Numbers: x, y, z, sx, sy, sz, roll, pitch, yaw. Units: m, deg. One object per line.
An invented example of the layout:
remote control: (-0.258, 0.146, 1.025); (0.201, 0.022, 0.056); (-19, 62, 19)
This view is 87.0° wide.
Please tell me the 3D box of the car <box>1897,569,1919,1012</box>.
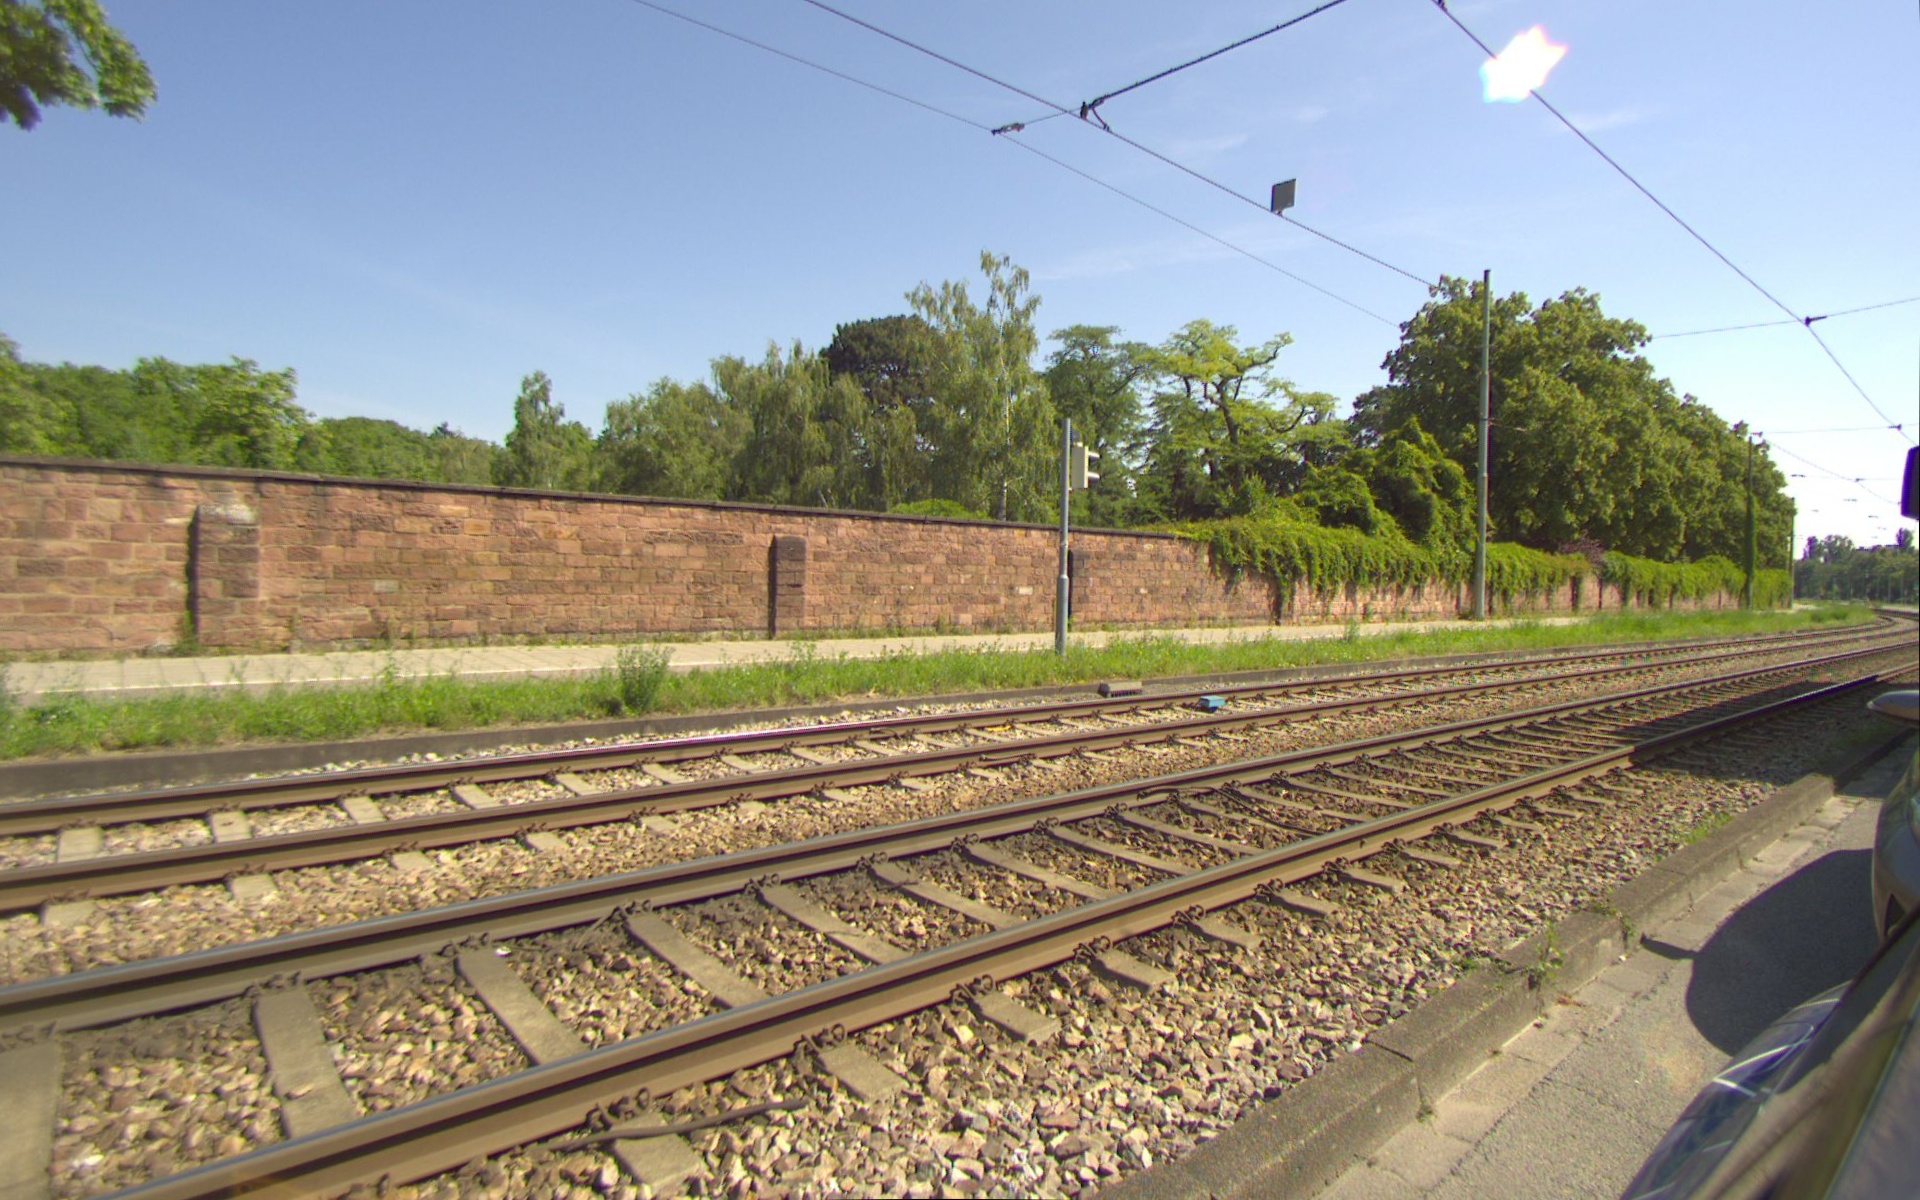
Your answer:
car: (5.115, 0.655, 4.031); (3.930, 1.448, 1.573); (0, 2, -41)

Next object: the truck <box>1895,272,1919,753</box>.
truck: (14.253, -0.660, 12.016); (14.652, 3.927, 2.934); (0, 2, -41)
